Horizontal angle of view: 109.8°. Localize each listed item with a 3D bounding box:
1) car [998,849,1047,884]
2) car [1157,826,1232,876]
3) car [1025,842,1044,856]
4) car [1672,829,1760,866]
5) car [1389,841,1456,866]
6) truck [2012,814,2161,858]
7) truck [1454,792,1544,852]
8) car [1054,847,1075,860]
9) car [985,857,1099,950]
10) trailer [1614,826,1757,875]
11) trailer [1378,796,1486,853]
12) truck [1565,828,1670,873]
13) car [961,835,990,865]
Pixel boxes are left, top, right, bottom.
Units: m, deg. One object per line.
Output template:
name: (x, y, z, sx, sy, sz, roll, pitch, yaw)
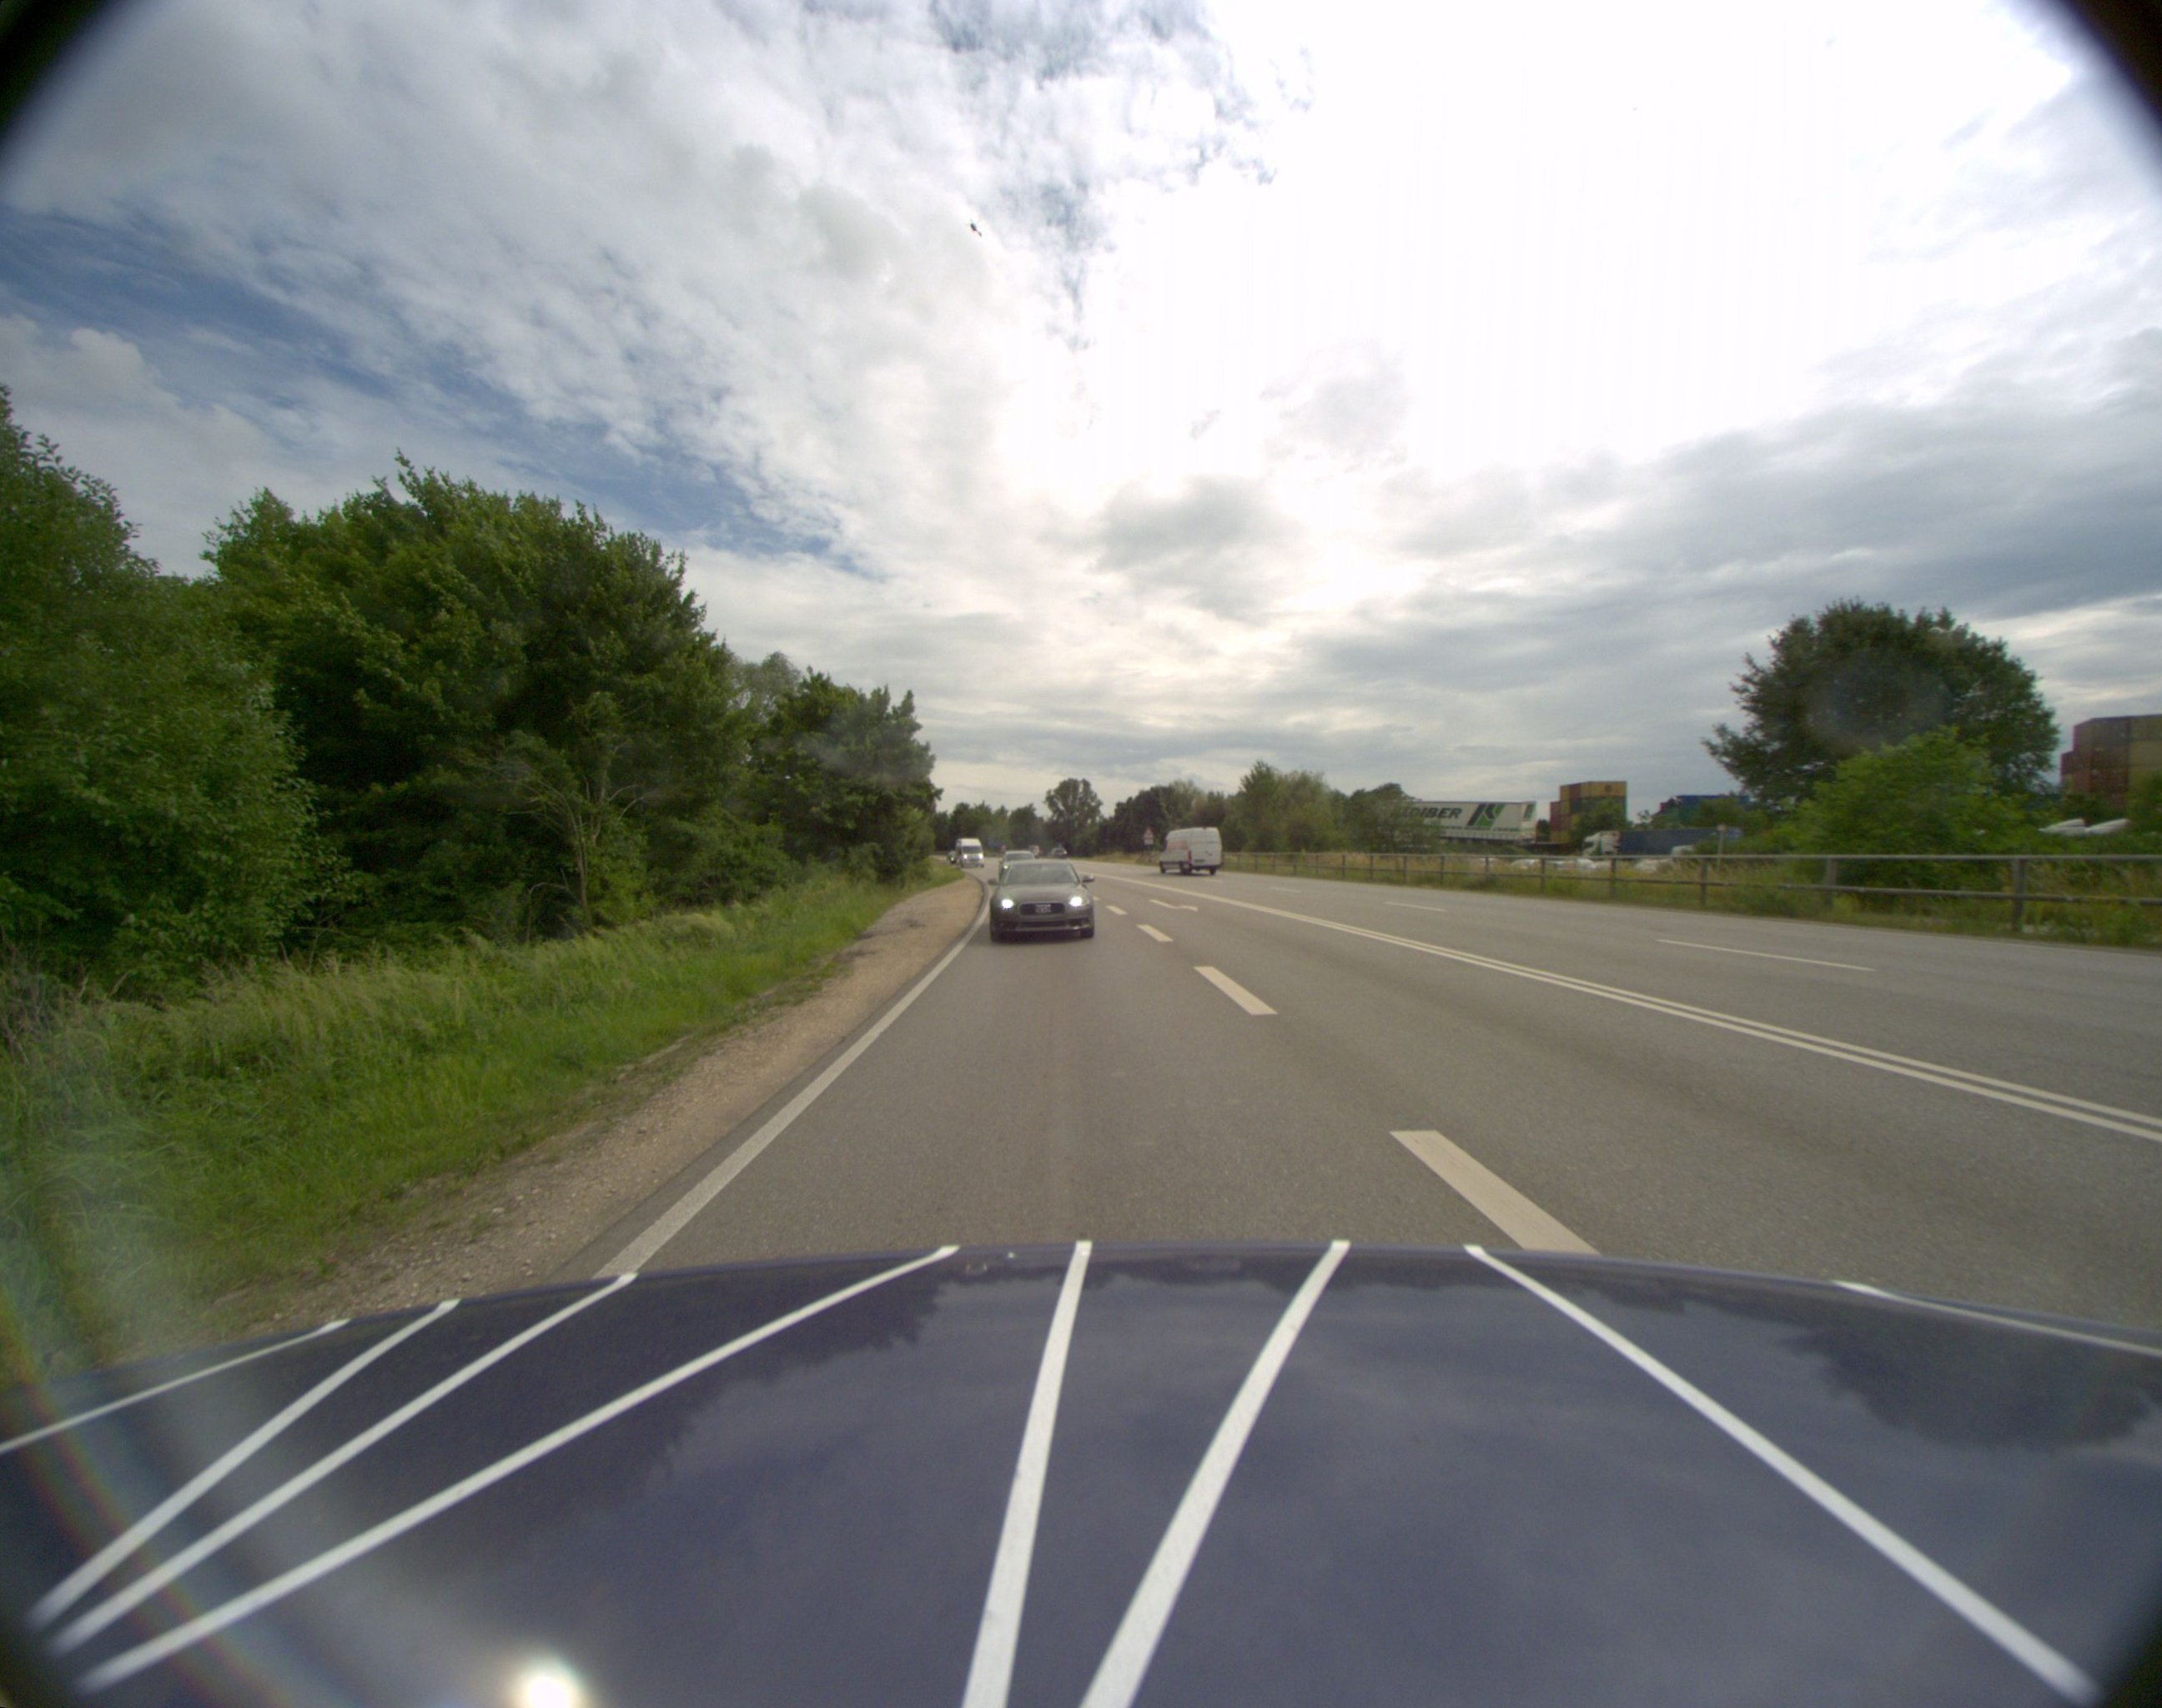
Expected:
car: (-3.036, 0.602, 38.621, 2.022, 1.603, 4.276, -2, 1, -10)
car: (6.617, -0.186, 45.393, 2.442, 2.659, 6.882, -2, 1, -9)
car: (-7.042, -0.803, 114.288, 2.001, 2.002, 4.661, -2, 1, -13)
car: (33.759, -0.361, 40.404, 4.591, 1.725, 1.995, -3, 1, -28)
car: (26.915, -0.041, 60.009, 4.537, 1.865, 2.002, -1, 1, 17)
truck: (64.951, -1.102, 48.546, 2.658, 2.667, 6.636, -2, 1, -45)
truck: (36.133, -2.702, 65.910, 2.809, 4.968, 6.174, -3, 2, -34)
car: (-1.963, -0.054, 88.014, 1.814, 1.433, 4.349, -1, 1, -9)
car: (-0.886, 0.861, 15.203, 1.958, 1.527, 3.997, -1, 0, -6)
trailer: (56.412, -0.317, 71.428, 3.245, 4.268, 10.386, -2, 1, -20)
trailer: (32.632, -2.668, 71.128, 2.812, 4.968, 8.961, -3, 2, -34)
truck: (54.303, -0.392, 77.227, 3.245, 4.268, 8.304, -2, 1, -20)
car: (-10.014, -0.325, 71.681, 2.221, 2.654, 5.234, -3, 0, -11)
